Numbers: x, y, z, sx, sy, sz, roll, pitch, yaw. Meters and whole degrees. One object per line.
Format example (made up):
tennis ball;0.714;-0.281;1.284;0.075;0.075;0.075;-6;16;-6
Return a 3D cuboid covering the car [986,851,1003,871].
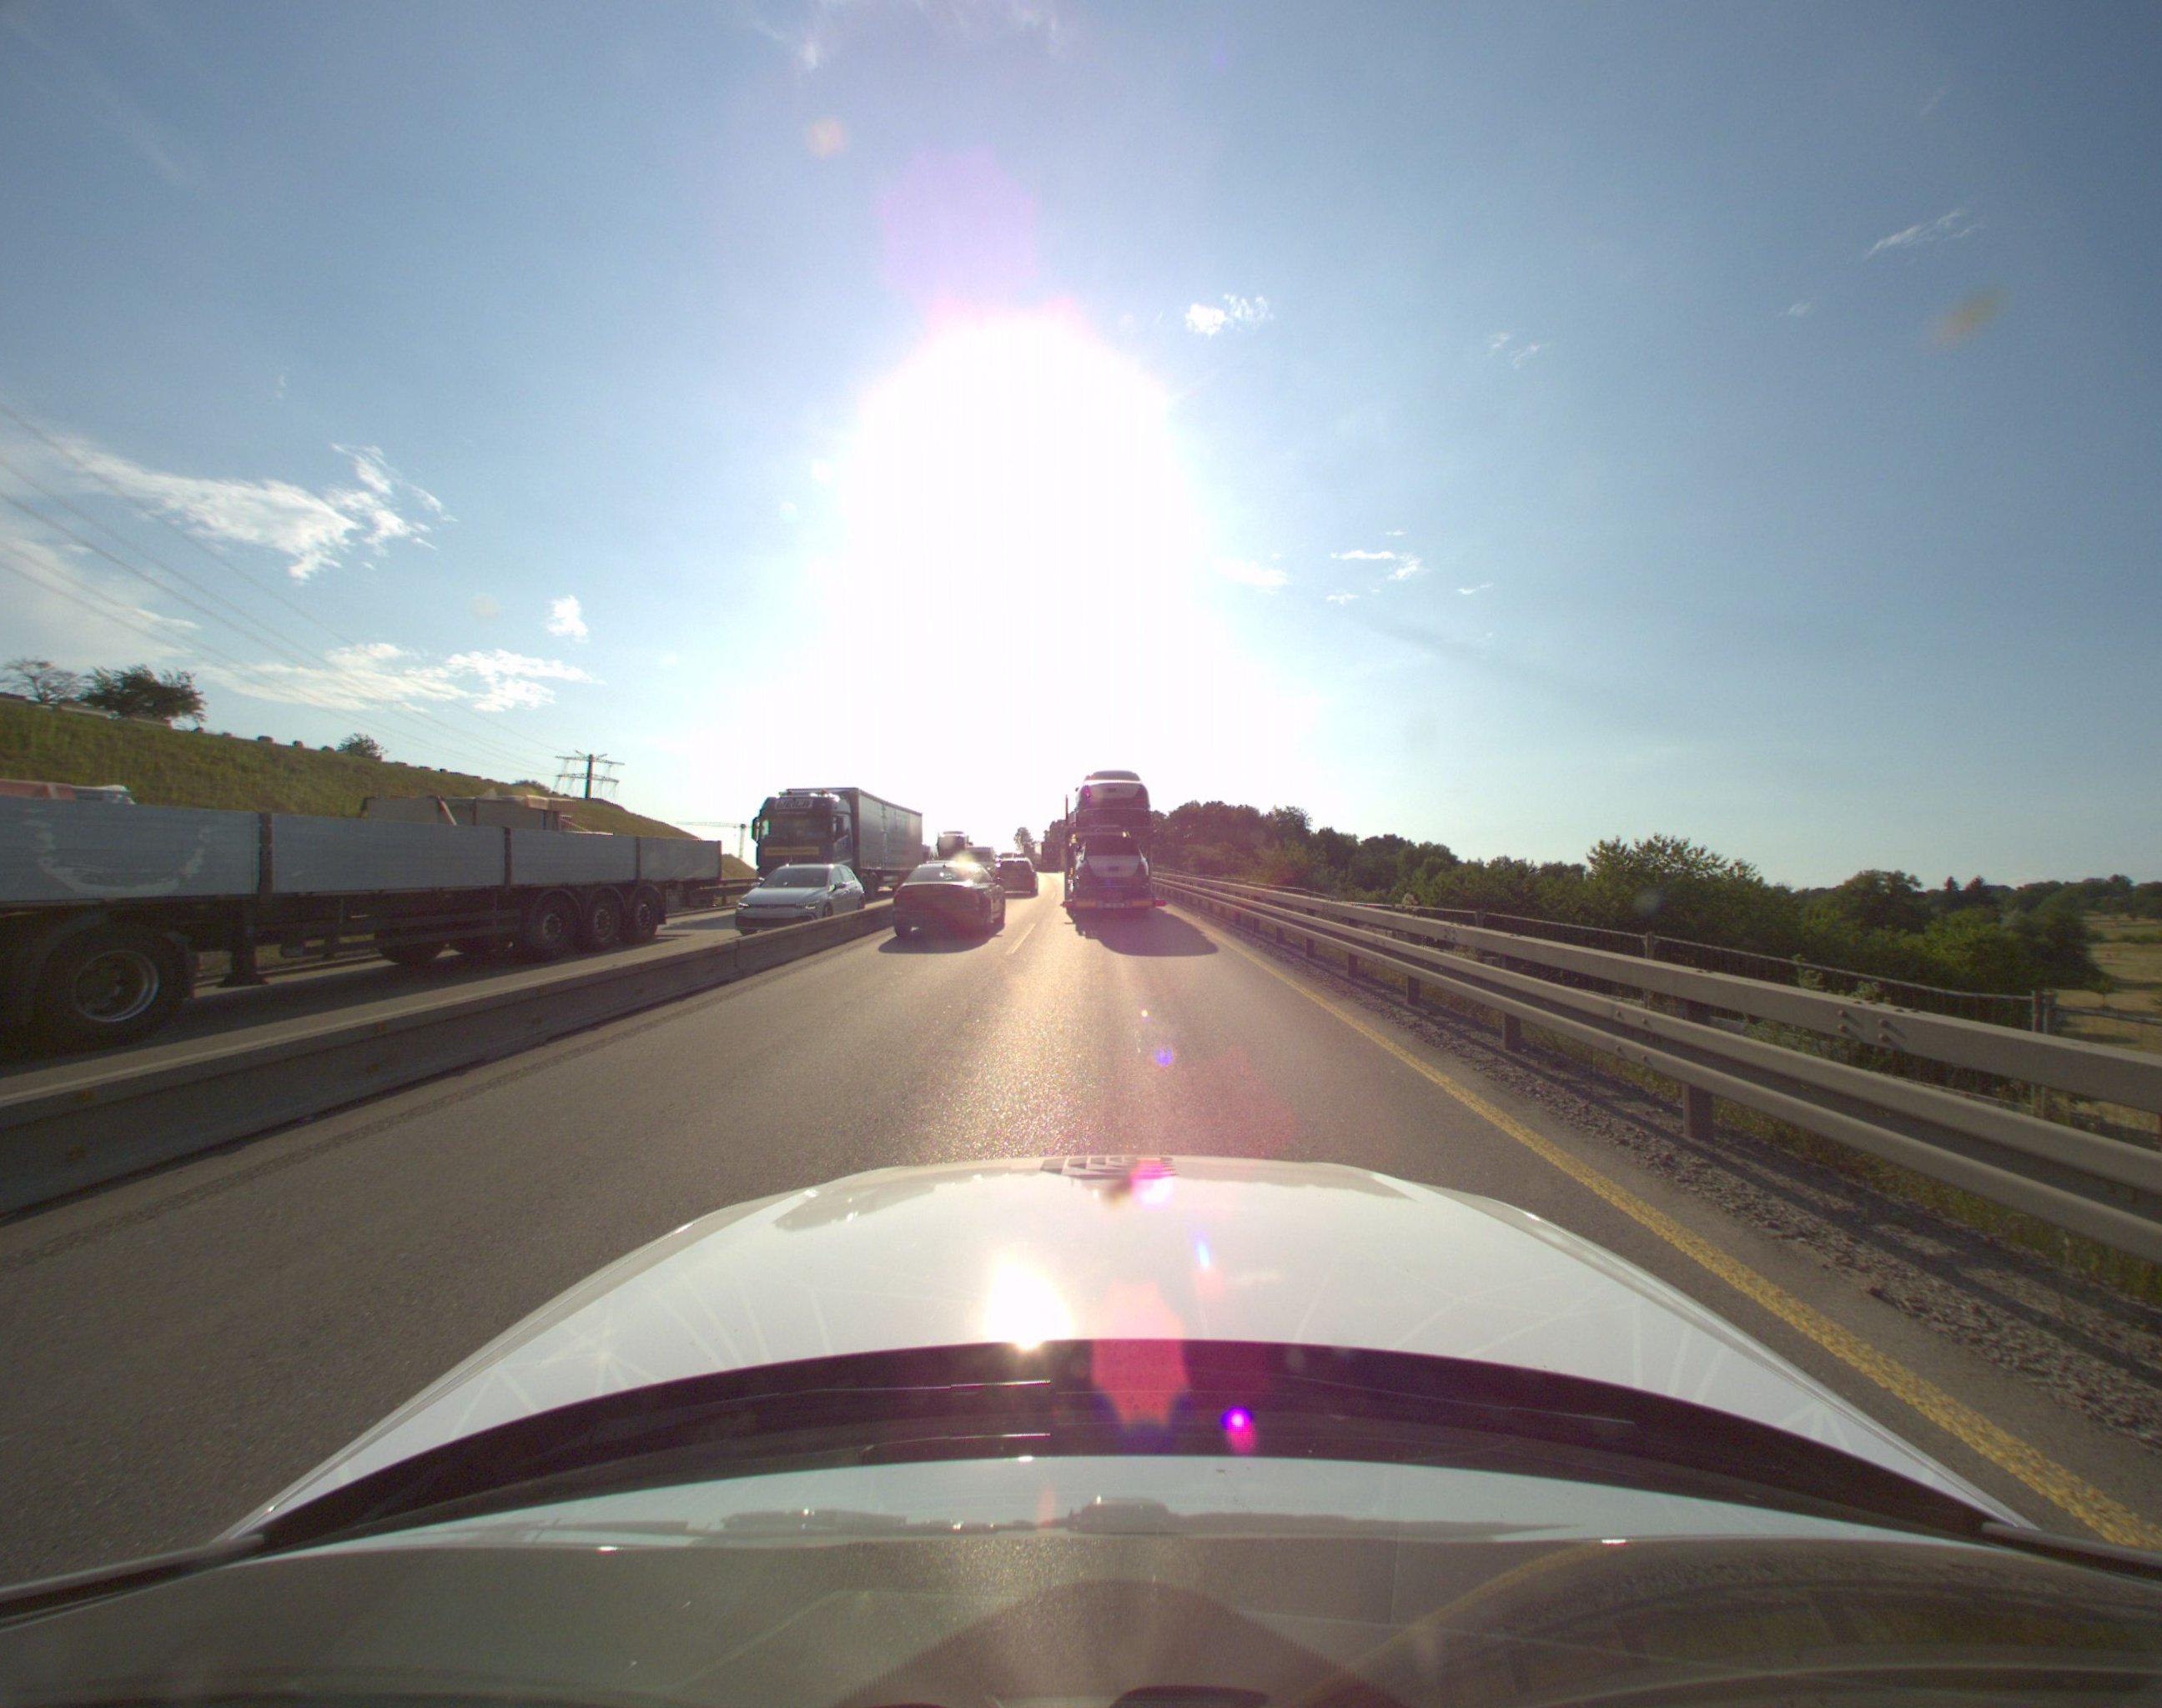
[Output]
car;-11.238;0.868;105.986;2.101;2.482;6.056;-1;-1;-5

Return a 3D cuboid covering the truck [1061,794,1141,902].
truck;0.606;-0.175;34.114;2.830;3.792;9.980;-1;-1;-1

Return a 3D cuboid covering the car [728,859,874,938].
car;-6.033;0.896;18.104;1.753;1.508;4.253;-1;-1;0

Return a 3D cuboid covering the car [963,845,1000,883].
car;-6.918;0.707;57.310;2.052;2.500;6.768;-1;-1;-3

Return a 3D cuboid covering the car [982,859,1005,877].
car;-8.487;1.363;79.280;1.865;1.694;4.592;-1;-1;-2

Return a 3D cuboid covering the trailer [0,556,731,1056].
trailer;-9.273;-0.293;11.515;2.511;3.725;13.976;-1;-1;0

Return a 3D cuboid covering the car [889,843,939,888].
car;-10.109;0.719;49.789;2.153;2.558;5.582;-1;-1;-3

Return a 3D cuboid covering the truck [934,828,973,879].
truck;-10.546;-0.012;67.723;2.498;4.066;5.877;-1;-1;-3

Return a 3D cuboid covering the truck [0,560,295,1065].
truck;-9.352;-0.303;5.002;2.591;3.754;6.518;-1;-1;1

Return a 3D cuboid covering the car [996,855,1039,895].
car;-2.707;0.883;35.397;1.687;1.596;3.997;-1;-1;-2

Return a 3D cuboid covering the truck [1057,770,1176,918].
truck;0.797;-0.194;24.730;2.791;3.497;10.601;-1;-1;-1

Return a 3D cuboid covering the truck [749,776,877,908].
truck;-9.023;-0.360;28.112;2.495;4.066;5.663;-1;-1;0

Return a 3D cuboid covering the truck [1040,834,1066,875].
truck;-3.917;0.118;110.694;3.278;5.237;9.924;-1;-1;-3

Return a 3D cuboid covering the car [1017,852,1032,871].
car;-7.998;1.065;115.781;1.915;2.492;5.405;-1;-1;-1

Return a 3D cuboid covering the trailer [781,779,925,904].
trailer;-9.044;-0.352;34.592;2.300;4.130;14.590;-1;-1;-1

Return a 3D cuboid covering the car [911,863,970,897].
car;-6.199;1.128;36.502;1.753;1.378;4.767;-1;-1;0

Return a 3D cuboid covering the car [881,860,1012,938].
car;-2.723;0.856;17.721;1.928;1.399;4.961;-1;0;1

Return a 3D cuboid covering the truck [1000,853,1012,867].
truck;-17.601;1.314;191.285;2.585;3.170;6.667;-1;-1;-4

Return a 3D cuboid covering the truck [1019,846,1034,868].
truck;-9.492;0.519;142.307;2.525;3.648;8.895;-1;-1;-3
